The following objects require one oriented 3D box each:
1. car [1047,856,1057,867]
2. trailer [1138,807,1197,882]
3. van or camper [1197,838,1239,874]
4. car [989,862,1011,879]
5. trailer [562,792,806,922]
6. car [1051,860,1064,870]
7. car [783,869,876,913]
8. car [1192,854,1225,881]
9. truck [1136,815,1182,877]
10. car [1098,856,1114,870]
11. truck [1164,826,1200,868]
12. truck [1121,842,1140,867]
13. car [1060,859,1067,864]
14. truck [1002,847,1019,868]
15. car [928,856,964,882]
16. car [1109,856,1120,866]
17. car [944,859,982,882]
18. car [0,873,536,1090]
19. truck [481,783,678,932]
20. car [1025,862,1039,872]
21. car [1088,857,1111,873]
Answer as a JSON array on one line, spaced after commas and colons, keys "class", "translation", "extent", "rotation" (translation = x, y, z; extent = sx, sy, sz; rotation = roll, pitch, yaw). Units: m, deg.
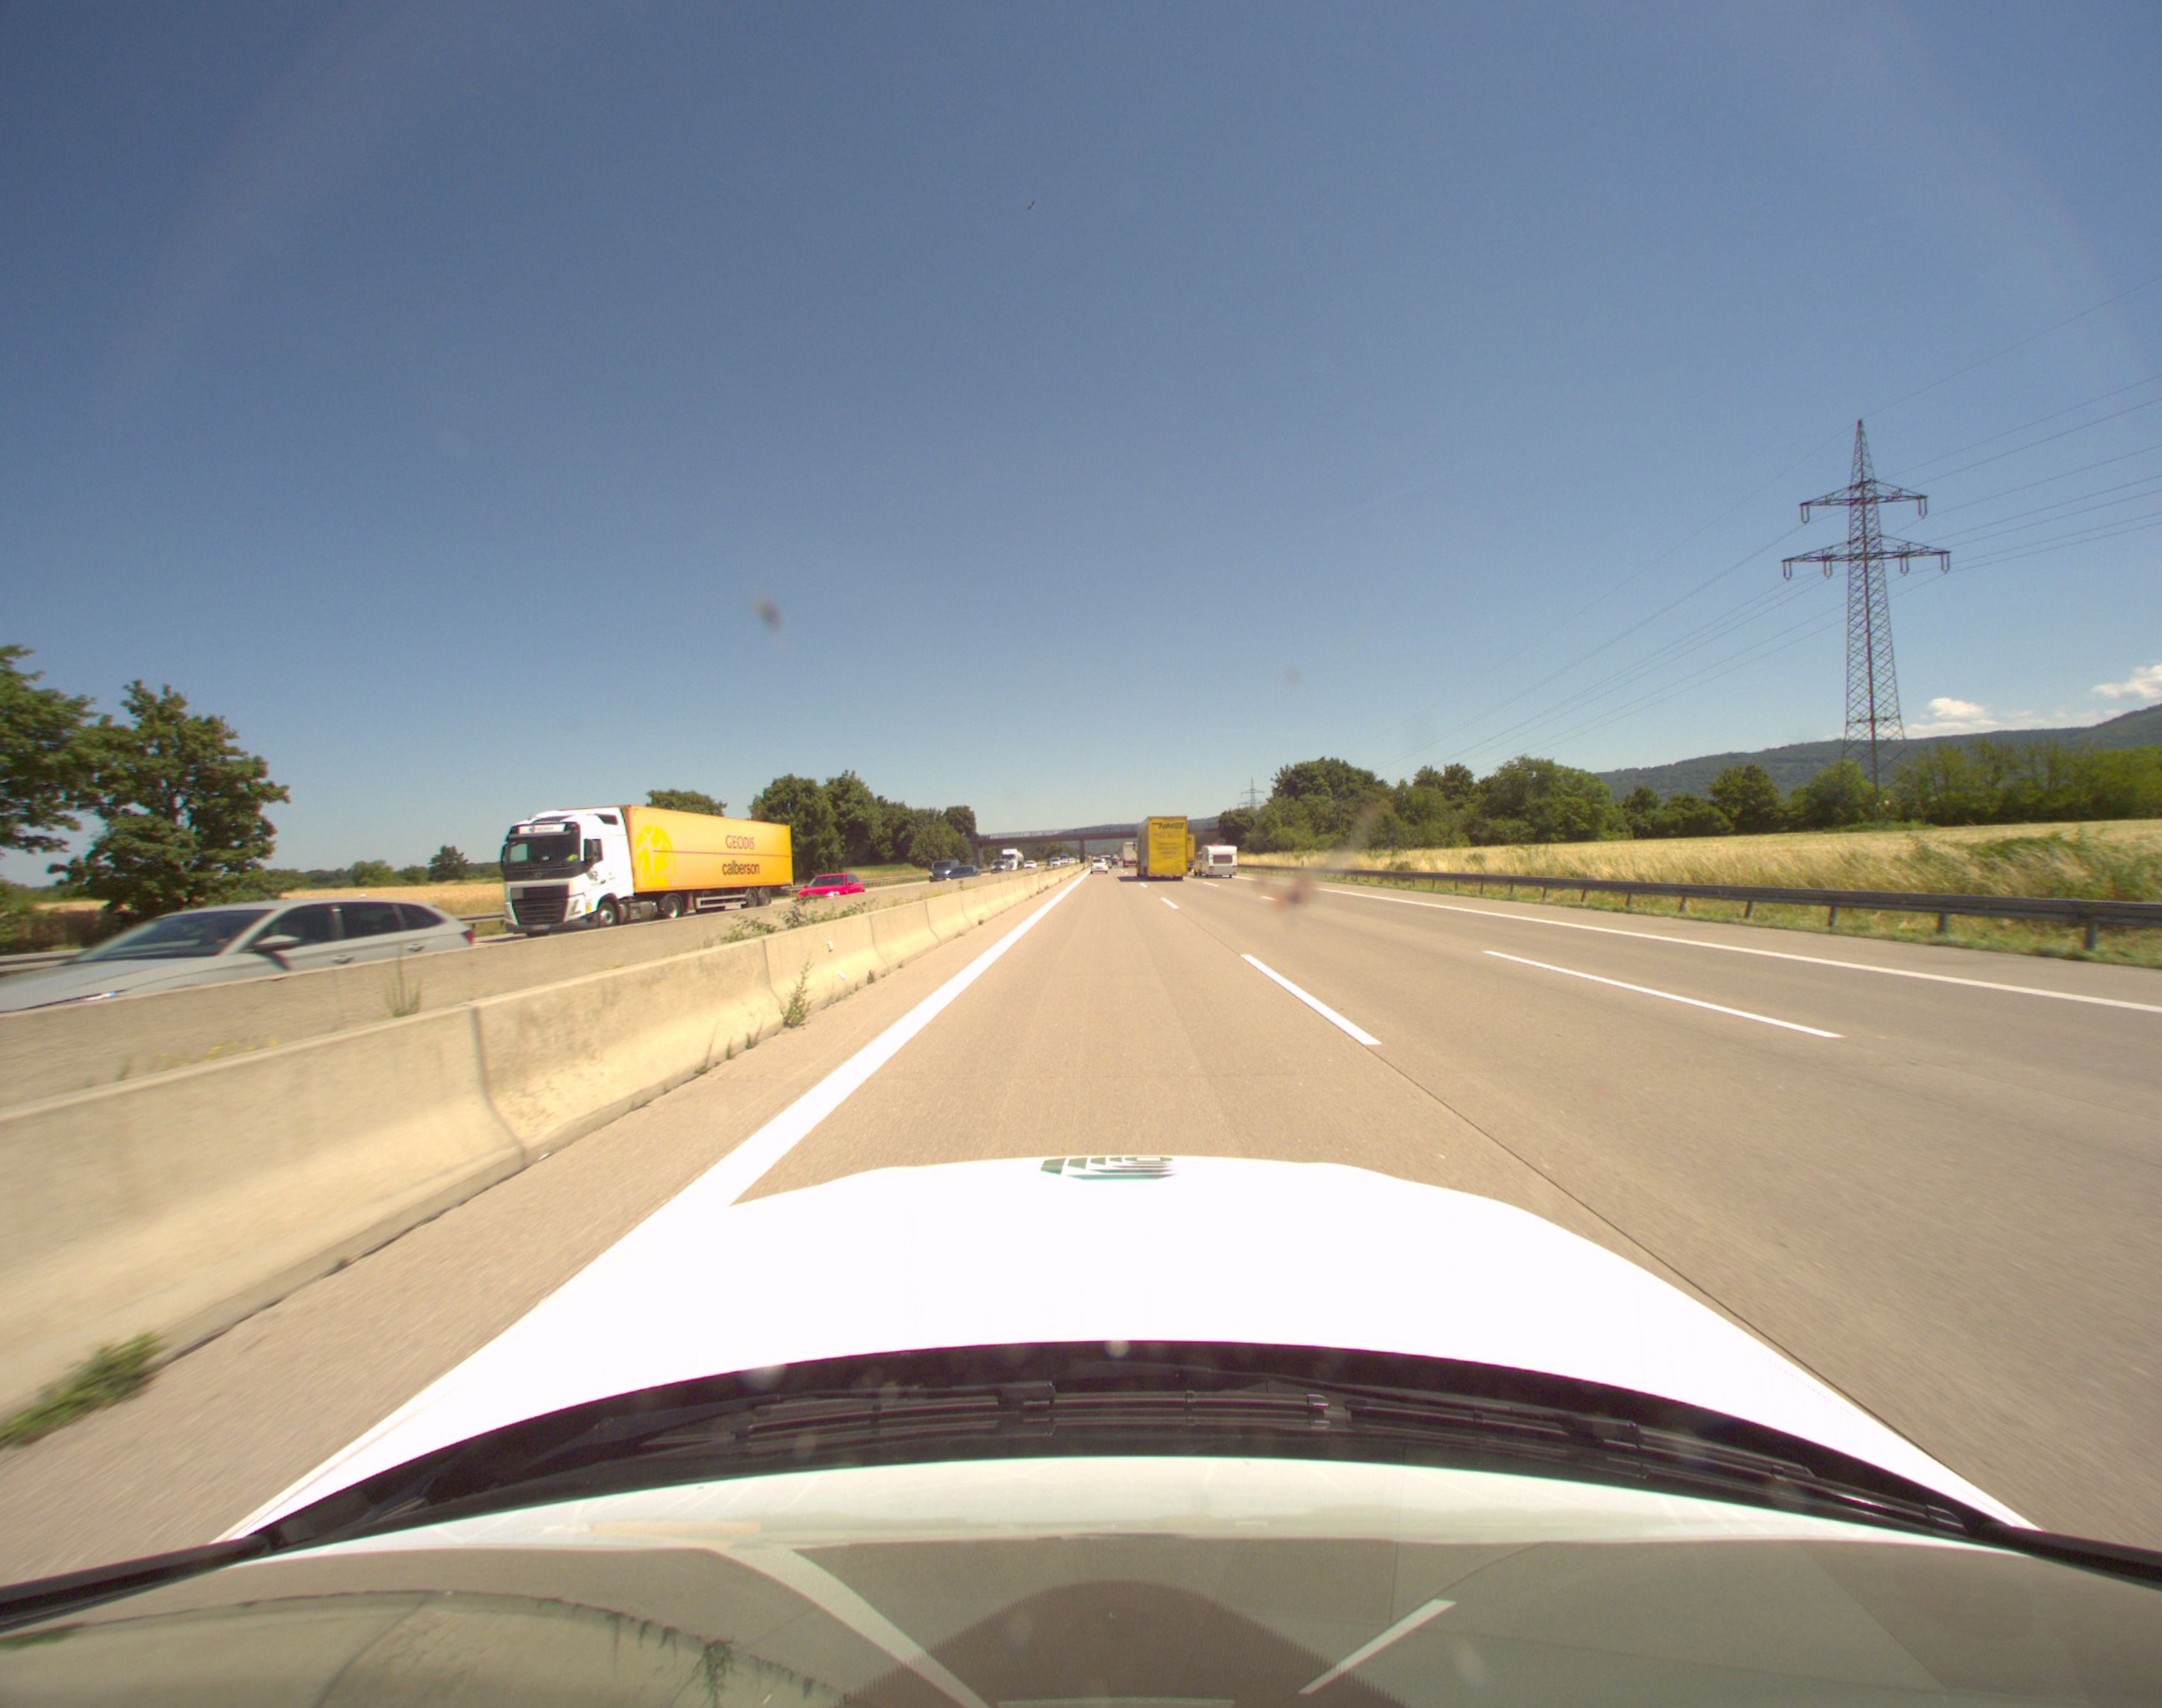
[{"class": "car", "translation": [-6.653, 1.709, 187.517], "extent": [1.986, 2.138, 5.884], "rotation": [-4, 0, 1]}, {"class": "trailer", "translation": [5.794, -0.587, 56.952], "extent": [3.203, 4.563, 13.463], "rotation": [0, 0, 2]}, {"class": "van or camper", "translation": [9.911, 0.148, 59.322], "extent": [2.216, 2.531, 5.432], "rotation": [0, 0, 1]}, {"class": "car", "translation": [-10.198, 1.995, 102.782], "extent": [1.986, 1.939, 5.691], "rotation": [-4, 0, 1]}, {"class": "trailer", "translation": [-15.725, 0.134, 34.414], "extent": [2.862, 4.198, 14.144], "rotation": [-3, 0, 2]}, {"class": "car", "translation": [-4.292, 2.033, 150.045], "extent": [1.986, 1.735, 5.116], "rotation": [-4, 0, 1]}, {"class": "car", "translation": [-9.632, 1.360, 31.639], "extent": [1.986, 1.394, 4.718], "rotation": [-3, 0, 1]}, {"class": "car", "translation": [9.993, 1.022, 64.077], "extent": [1.986, 2.013, 4.001], "rotation": [0, 0, 1]}, {"class": "truck", "translation": [5.996, -0.585, 63.446], "extent": [3.204, 4.563, 5.838], "rotation": [0, 0, 2]}, {"class": "car", "translation": [3.724, 1.258, 118.562], "extent": [2.246, 2.013, 4.300], "rotation": [0, 0, 2]}, {"class": "truck", "translation": [10.964, -0.742, 89.218], "extent": [2.988, 4.314, 9.688], "rotation": [0, 0, 2]}, {"class": "truck", "translation": [7.772, 0.115, 128.033], "extent": [2.810, 3.761, 6.286], "rotation": [0, 0, 1]}, {"class": "car", "translation": [-5.529, 2.345, 256.020], "extent": [1.986, 1.807, 4.001], "rotation": [0, 0, 1]}, {"class": "truck", "translation": [-12.583, 0.642, 145.441], "extent": [2.592, 3.589, 4.721], "rotation": [0, 0, 1]}, {"class": "car", "translation": [-11.038, 1.154, 67.074], "extent": [1.924, 2.000, 5.519], "rotation": [0, 0, 1]}, {"class": "car", "translation": [6.697, 1.458, 163.016], "extent": [1.986, 2.013, 4.001], "rotation": [0, 0, 1]}, {"class": "car", "translation": [-7.294, 1.016, 50.848], "extent": [1.684, 1.331, 4.001], "rotation": [0, 0, 1]}, {"class": "car", "translation": [-8.306, 1.037, 8.447], "extent": [1.986, 1.485, 4.712], "rotation": [-2, 0, 2]}, {"class": "truck", "translation": [-15.923, 0.119, 26.367], "extent": [2.858, 4.195, 5.231], "rotation": [-3, 0, 1]}, {"class": "car", "translation": [-8.580, 2.195, 141.888], "extent": [1.916, 1.611, 4.687], "rotation": [-3, 0, 1]}, {"class": "car", "translation": [1.850, 1.056, 81.013], "extent": [2.098, 1.536, 4.125], "rotation": [0, 0, 3]}]
